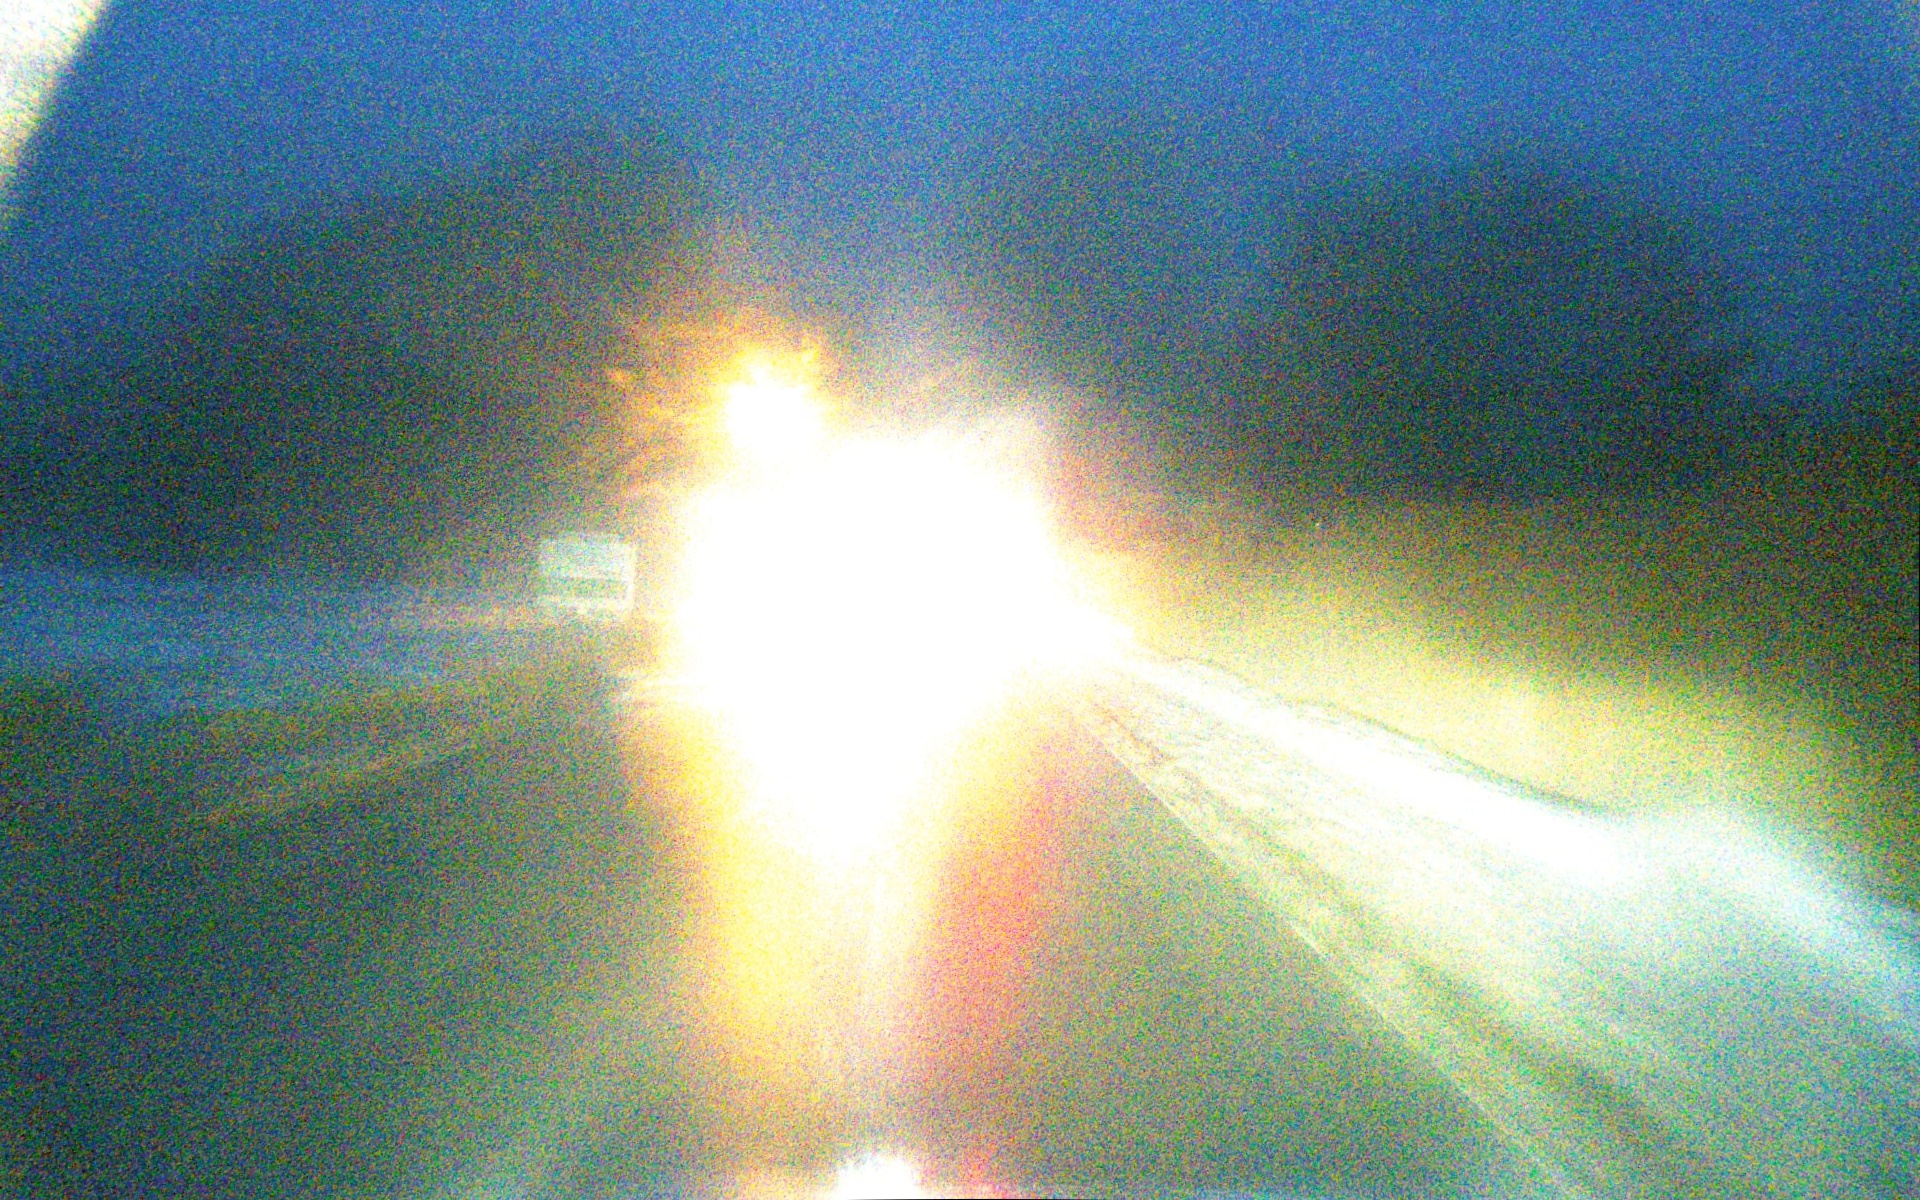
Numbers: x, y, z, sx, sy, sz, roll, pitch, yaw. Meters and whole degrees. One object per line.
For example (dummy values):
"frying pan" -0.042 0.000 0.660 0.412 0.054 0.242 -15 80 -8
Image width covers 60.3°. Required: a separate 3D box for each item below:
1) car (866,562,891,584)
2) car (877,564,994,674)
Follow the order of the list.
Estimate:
"car" -5.948 -1.929 120.607 1.697 1.545 4.014 1 1 -2
"car" -0.405 0.302 27.762 1.765 1.657 3.614 2 0 -1
